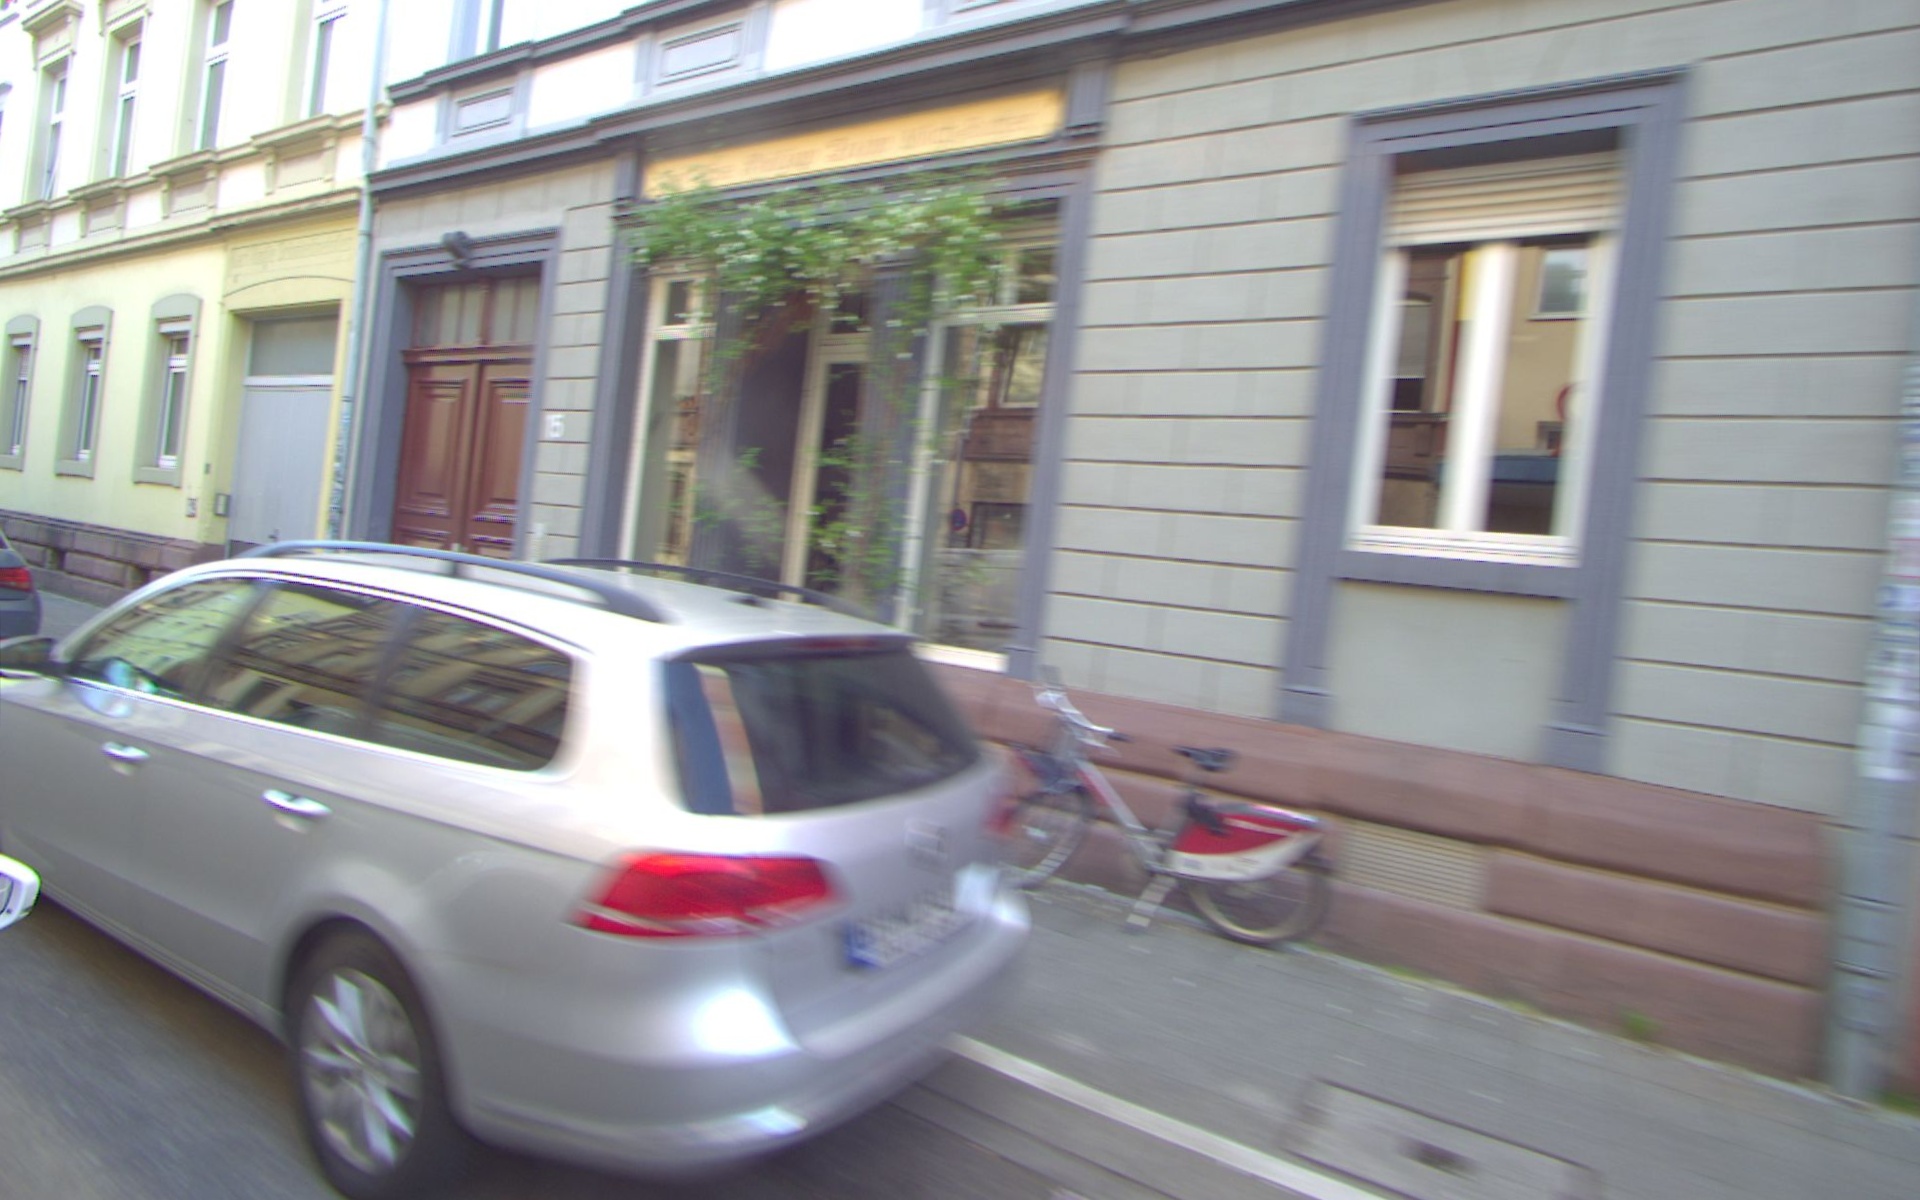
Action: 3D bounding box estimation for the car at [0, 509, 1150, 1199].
[{"bbox_3d":[-1.830,0.598,3.544,4.471,1.474,1.786,7,3,31],"label":"car"}]

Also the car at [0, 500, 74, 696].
[{"bbox_3d":[-9.189,-0.250,8.204,4.103,1.462,1.750,7,0,32],"label":"car"}]

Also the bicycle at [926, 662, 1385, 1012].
[{"bbox_3d":[0.865,0.970,4.661,1.868,1.112,0.710,7,3,29],"label":"bicycle"}]
